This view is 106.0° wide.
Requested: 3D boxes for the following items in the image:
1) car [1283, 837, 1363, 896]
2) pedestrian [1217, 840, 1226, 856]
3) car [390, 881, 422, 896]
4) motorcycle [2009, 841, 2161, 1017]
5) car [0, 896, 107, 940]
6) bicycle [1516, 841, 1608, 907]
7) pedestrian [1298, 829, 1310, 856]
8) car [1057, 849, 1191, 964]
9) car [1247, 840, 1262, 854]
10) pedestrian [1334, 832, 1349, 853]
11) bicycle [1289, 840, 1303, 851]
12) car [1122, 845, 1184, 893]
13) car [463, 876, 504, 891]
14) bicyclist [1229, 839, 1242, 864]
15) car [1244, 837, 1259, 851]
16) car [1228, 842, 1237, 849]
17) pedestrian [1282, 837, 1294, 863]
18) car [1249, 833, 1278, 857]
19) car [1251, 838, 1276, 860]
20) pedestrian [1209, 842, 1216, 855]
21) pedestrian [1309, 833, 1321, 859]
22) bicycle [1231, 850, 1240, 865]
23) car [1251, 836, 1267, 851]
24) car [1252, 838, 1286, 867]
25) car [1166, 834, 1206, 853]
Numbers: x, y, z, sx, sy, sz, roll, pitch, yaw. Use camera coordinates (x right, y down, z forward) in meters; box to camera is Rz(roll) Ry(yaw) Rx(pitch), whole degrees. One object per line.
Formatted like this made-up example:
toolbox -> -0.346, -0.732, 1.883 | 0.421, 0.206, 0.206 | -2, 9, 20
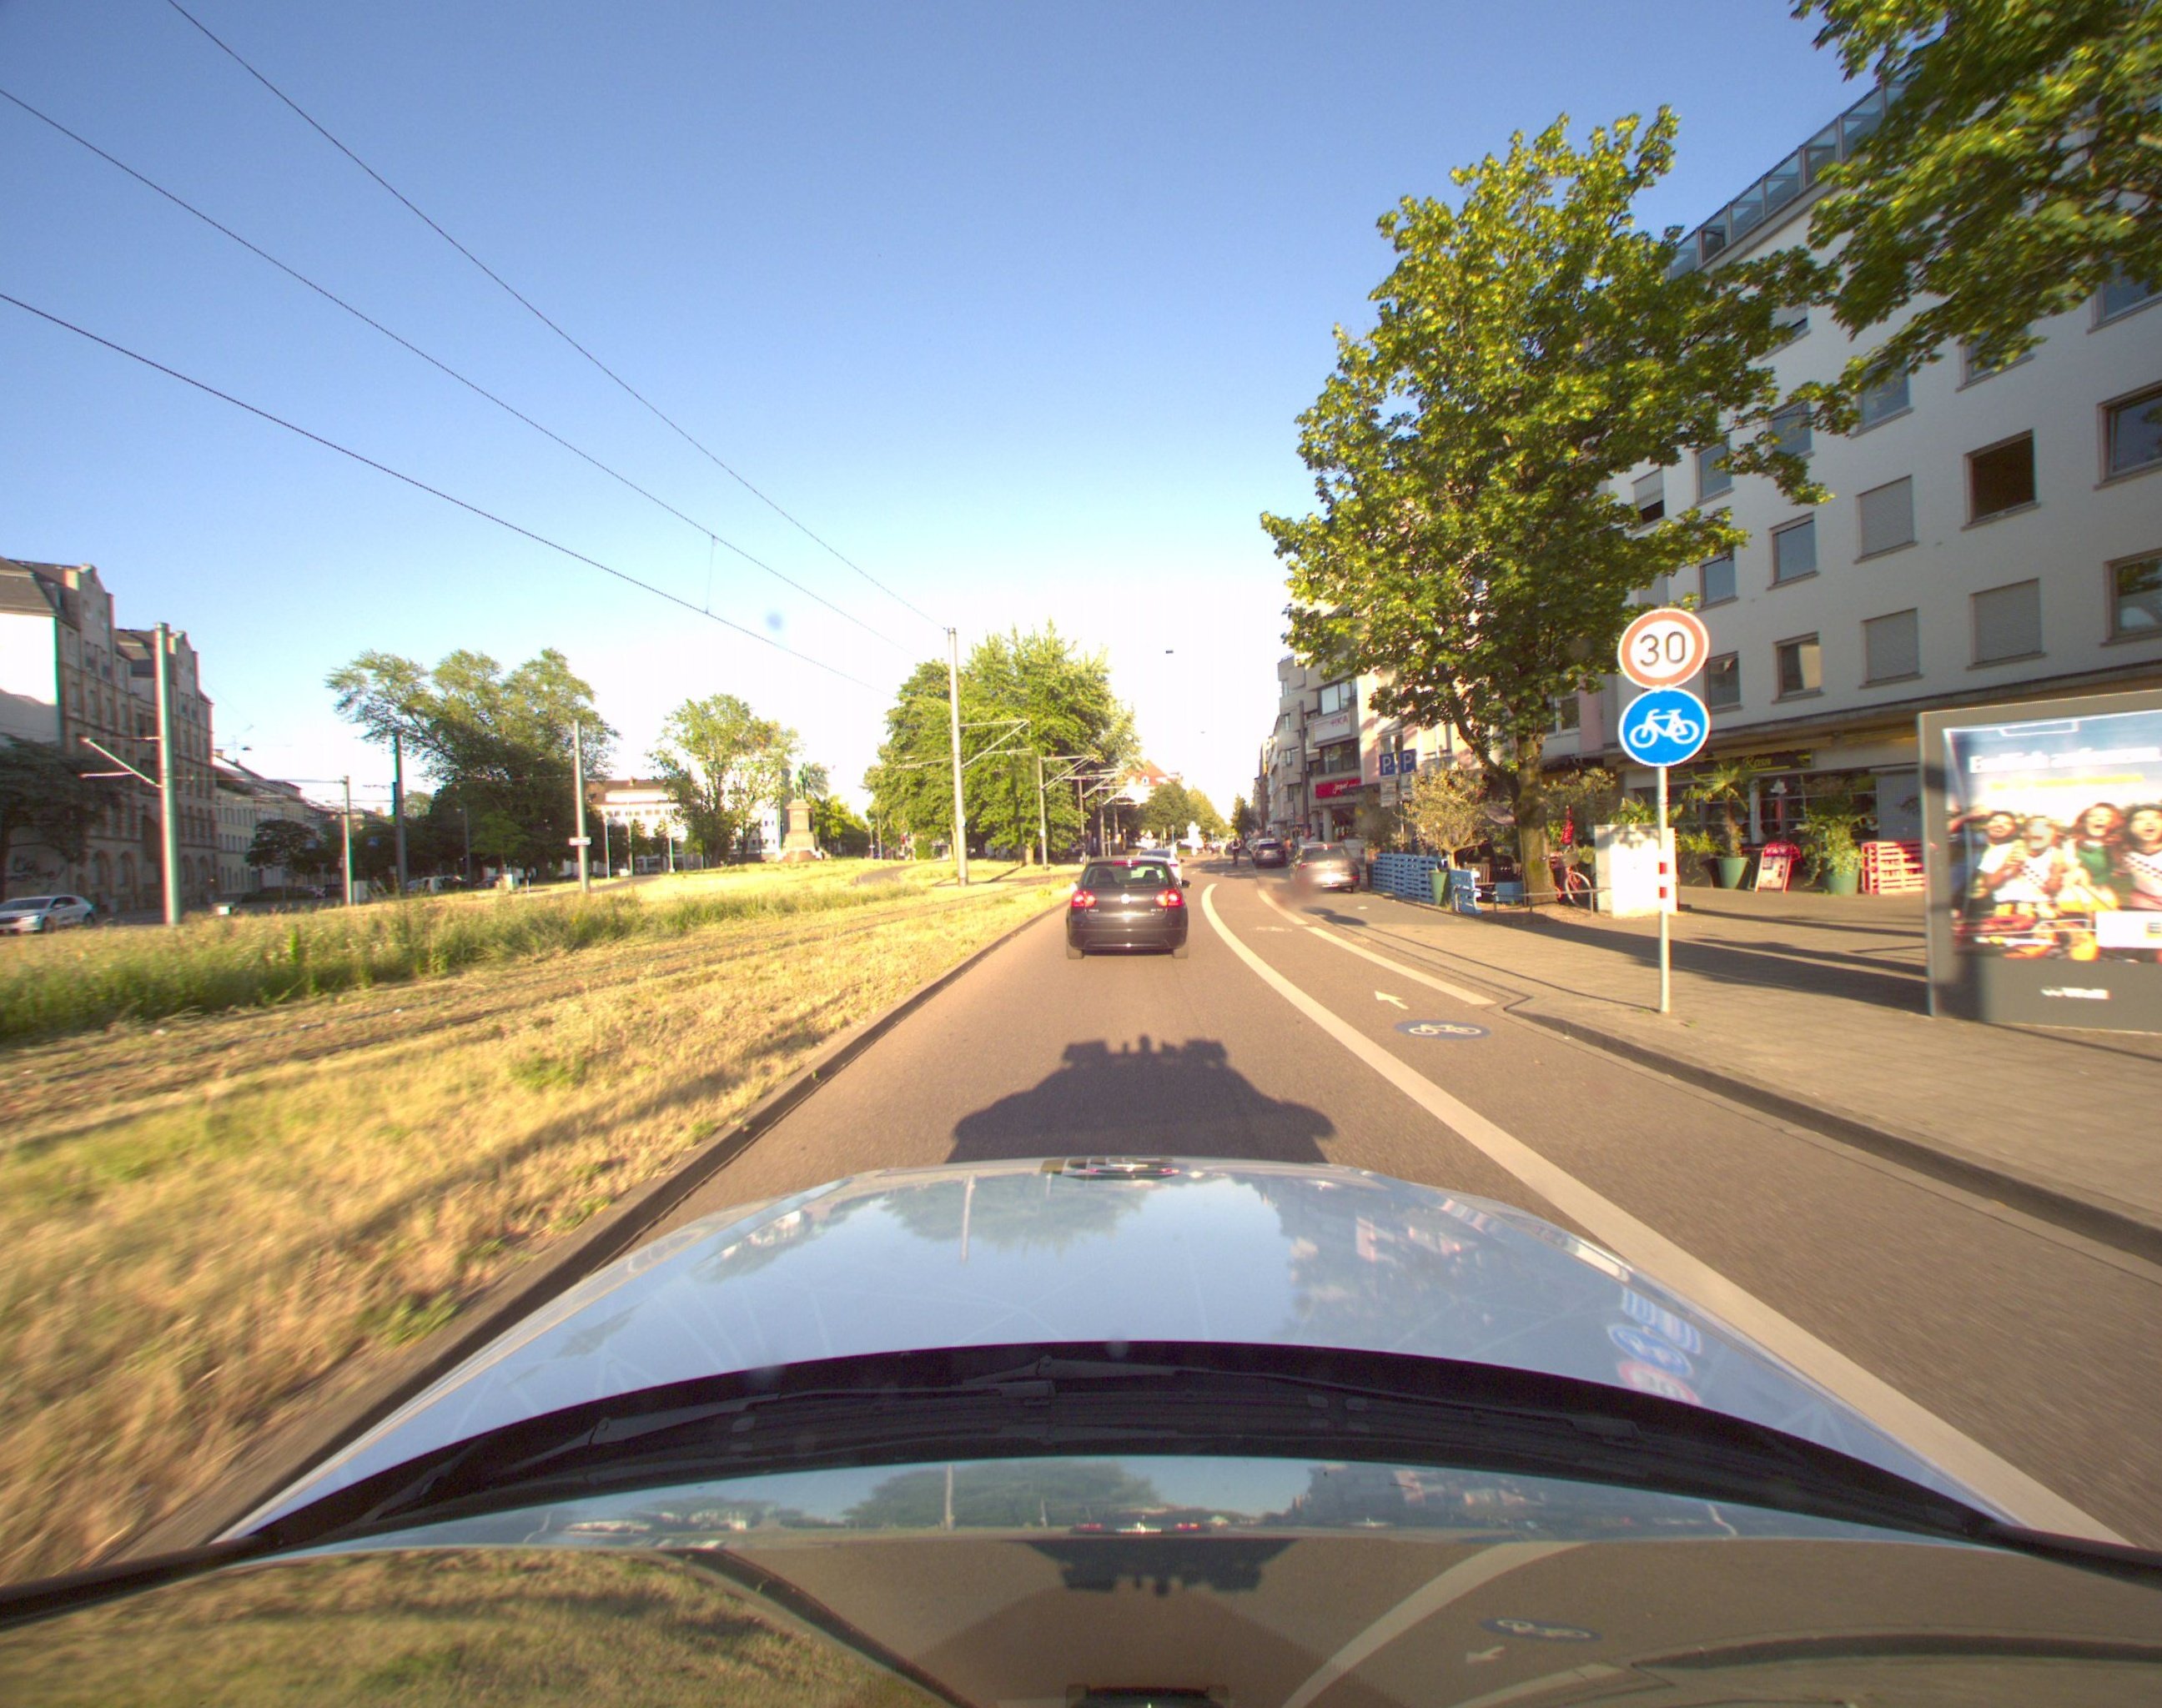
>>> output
car -> 7.046, 0.316, 24.061 | 1.717, 1.472, 3.910 | -5, 0, 10
pedestrian -> 15.450, -0.679, 89.738 | 0.855, 1.706, 0.942 | -2, 0, 5
car -> -62.993, 3.205, 76.036 | 1.575, 1.258, 3.694 | -3, 1, -28
motorcycle -> 8.095, 0.539, 5.643 | 0.665, 1.242, 2.196 | -2, 1, -6
car -> -42.338, 2.584, 33.211 | 1.780, 1.482, 4.270 | -3, 1, -28
bicycle -> 9.082, 0.341, 15.461 | 0.420, 1.157, 1.749 | -3, 1, -11
pedestrian -> 15.458, -0.798, 56.559 | 0.618, 1.858, 0.664 | -5, -1, 12
car -> 0.825, 0.690, 12.900 | 1.738, 1.461, 4.112 | -2, 0, 7
car -> 22.656, -0.885, 106.317 | 1.723, 1.617, 3.928 | -4, 0, 11
pedestrian -> 21.165, -0.916, 66.179 | 0.982, 1.673, 0.644 | -3, 0, 12
bicycle -> 23.598, -0.937, 89.386 | 0.517, 1.119, 1.508 | -5, -1, -33
car -> 2.628, 0.482, 28.918 | 1.854, 1.441, 4.208 | -3, 1, 9
car -> -63.113, 3.106, 86.107 | 1.543, 1.354, 3.525 | -2, 1, 4
bicyclist -> 10.250, -0.178, 54.014 | 0.772, 1.618, 1.028 | -1, 0, 10
car -> 24.874, -1.436, 118.734 | 1.912, 1.841, 4.031 | -4, 0, 12
car -> 33.989, -1.949, 183.248 | 1.894, 1.552, 4.012 | -2, 1, 10
pedestrian -> 14.466, -0.298, 56.929 | 0.575, 1.759, 0.664 | -5, -1, 12
car -> 14.699, -0.698, 65.660 | 1.856, 1.713, 4.517 | -5, 0, 9
car -> 13.429, -0.382, 59.916 | 1.650, 1.441, 3.869 | -5, 0, 13
pedestrian -> 16.069, -0.709, 99.368 | 0.732, 1.555, 0.633 | -2, 0, 7
pedestrian -> 16.205, -0.555, 56.431 | 0.618, 1.740, 0.664 | -5, -1, 12
bicycle -> 10.282, 0.212, 54.124 | 0.575, 0.987, 1.941 | -1, 0, 11
car -> 22.060, -1.310, 101.067 | 1.723, 1.800, 3.928 | -4, 0, 11
car -> 11.342, -0.120, 49.314 | 1.770, 1.556, 4.248 | -5, 0, 11
car -> 15.491, -1.522, 120.160 | 5.522, 2.594, 2.143 | -2, 0, -16
